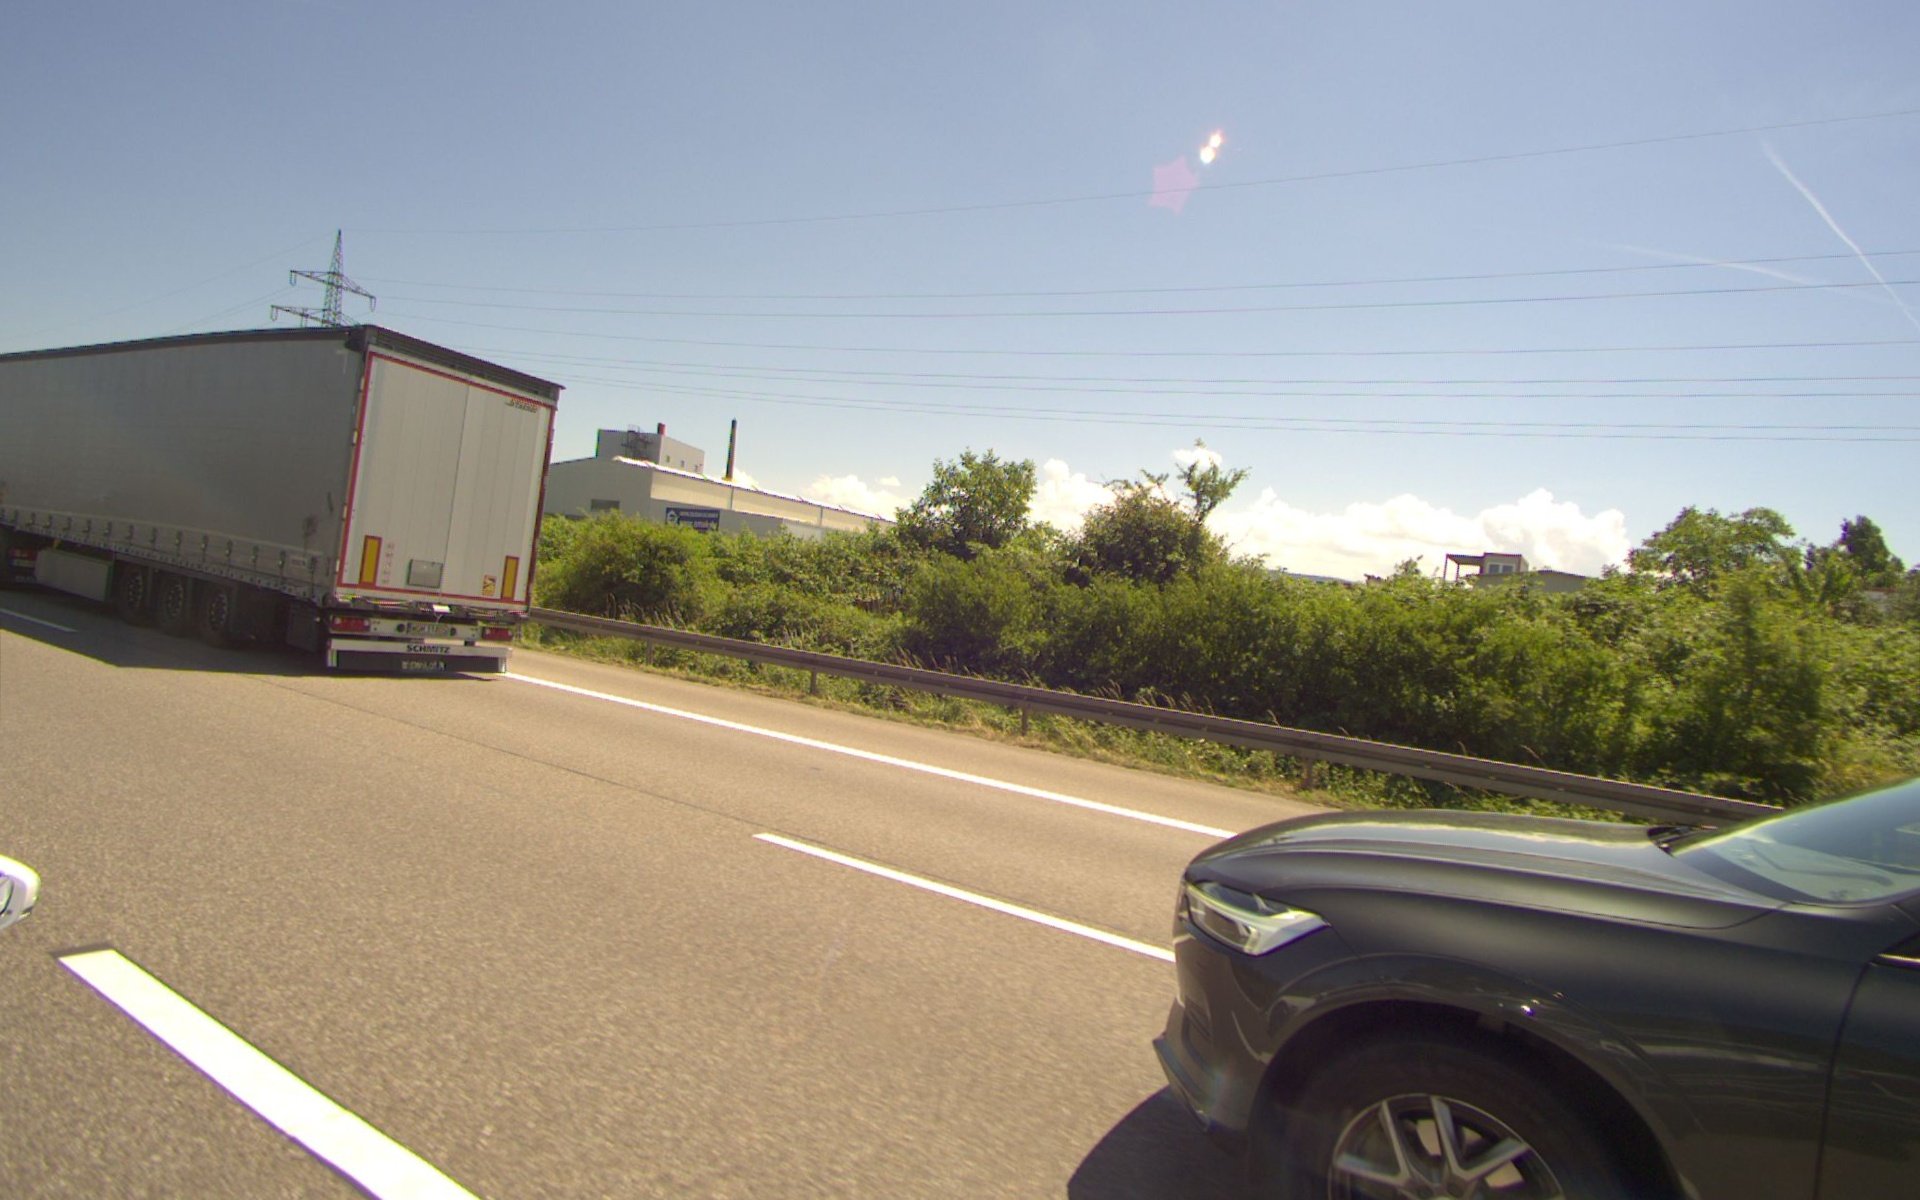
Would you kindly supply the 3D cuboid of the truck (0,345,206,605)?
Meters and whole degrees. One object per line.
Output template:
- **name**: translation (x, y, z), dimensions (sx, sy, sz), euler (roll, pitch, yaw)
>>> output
- **truck**: translation (-17.933, -2.380, 19.667), dimensions (6.023, 4.169, 2.740), euler (7, -1, 32)

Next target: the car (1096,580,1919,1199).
- **car**: translation (2.573, 1.038, 2.314), dimensions (3.937, 1.642, 1.877), euler (7, -1, 31)

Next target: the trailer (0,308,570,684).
- **trailer**: translation (-11.644, -1.670, 15.755), dimensions (12.904, 4.155, 2.740), euler (6, -1, 32)
